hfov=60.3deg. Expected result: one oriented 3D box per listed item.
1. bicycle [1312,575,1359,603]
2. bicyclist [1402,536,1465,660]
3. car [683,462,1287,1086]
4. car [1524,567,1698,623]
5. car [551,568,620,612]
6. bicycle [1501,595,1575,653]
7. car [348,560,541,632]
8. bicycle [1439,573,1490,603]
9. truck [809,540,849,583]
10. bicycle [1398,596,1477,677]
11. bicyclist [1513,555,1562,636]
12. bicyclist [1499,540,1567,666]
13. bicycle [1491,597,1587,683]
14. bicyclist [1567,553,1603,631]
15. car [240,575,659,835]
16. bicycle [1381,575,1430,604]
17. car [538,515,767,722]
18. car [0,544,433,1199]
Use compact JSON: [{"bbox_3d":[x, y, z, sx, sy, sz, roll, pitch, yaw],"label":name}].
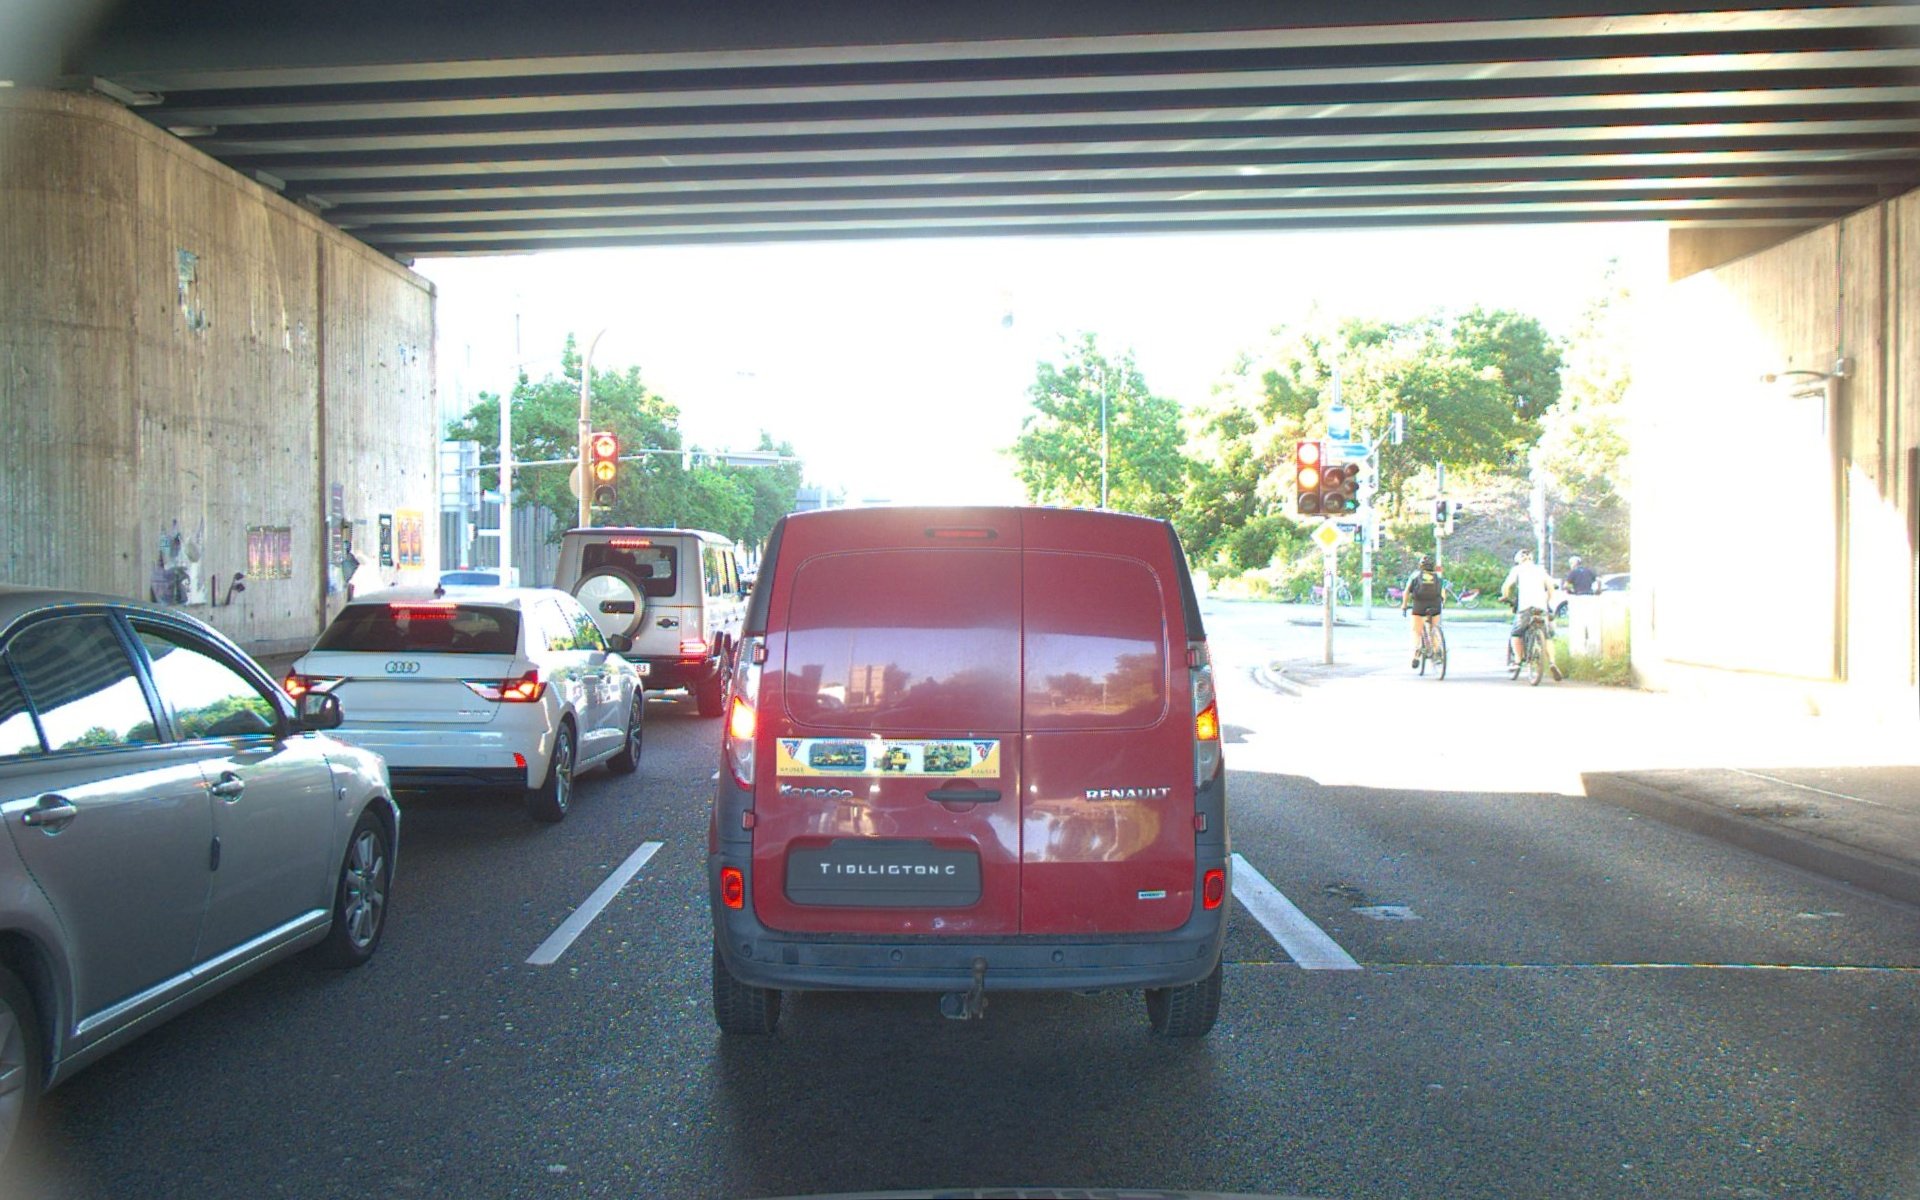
[{"bbox_3d":[14.203,-0.416,62.597,1.707,1.041,0.594,1,0,8],"label":"bicycle"},{"bbox_3d":[6.441,-0.028,22.528,0.579,1.642,0.942,1,0,1],"label":"bicyclist"},{"bbox_3d":[0.051,0.528,6.914,1.768,1.826,3.999,1,0,-1],"label":"car"},{"bbox_3d":[19.155,-0.148,48.813,4.451,1.540,1.829,1,0,6],"label":"car"},{"bbox_3d":[-16.117,-0.444,71.383,1.787,1.768,4.630,-2,1,1],"label":"car"},{"bbox_3d":[10.882,0.448,31.226,0.658,1.041,2.055,1,0,0],"label":"bicycle"},{"bbox_3d":[-11.180,-0.091,36.057,1.664,1.473,3.738,0,0,40],"label":"car"},{"bbox_3d":[18.353,-0.434,60.214,1.707,1.041,0.594,1,0,10],"label":"bicycle"},{"bbox_3d":[-9.810,-2.884,124.414,2.360,3.079,6.657,-2,1,0],"label":"truck"},{"bbox_3d":[6.419,0.480,22.306,0.579,1.041,1.750,1,0,1],"label":"bicycle"},{"bbox_3d":[10.897,-0.089,31.228,0.651,1.500,0.751,1,-1,-1],"label":"bicyclist"},{"bbox_3d":[7.315,0.038,21.125,0.580,1.575,0.769,1,-1,-1],"label":"bicyclist"},{"bbox_3d":[7.321,0.490,20.982,0.579,1.041,1.750,1,0,-1],"label":"bicycle"},{"bbox_3d":[12.292,-0.169,32.548,0.636,1.506,0.618,1,1,20],"label":"bicyclist"},{"bbox_3d":[-3.261,0.576,11.346,1.777,1.463,3.730,1,1,-1],"label":"car"},{"bbox_3d":[16.470,-0.382,61.169,1.707,1.041,0.594,1,0,8],"label":"bicycle"},{"bbox_3d":[-3.331,0.193,18.767,1.764,2.023,4.588,1,0,-1],"label":"car"},{"bbox_3d":[-3.017,0.622,4.848,1.698,1.506,4.317,0,0,-2],"label":"car"}]
